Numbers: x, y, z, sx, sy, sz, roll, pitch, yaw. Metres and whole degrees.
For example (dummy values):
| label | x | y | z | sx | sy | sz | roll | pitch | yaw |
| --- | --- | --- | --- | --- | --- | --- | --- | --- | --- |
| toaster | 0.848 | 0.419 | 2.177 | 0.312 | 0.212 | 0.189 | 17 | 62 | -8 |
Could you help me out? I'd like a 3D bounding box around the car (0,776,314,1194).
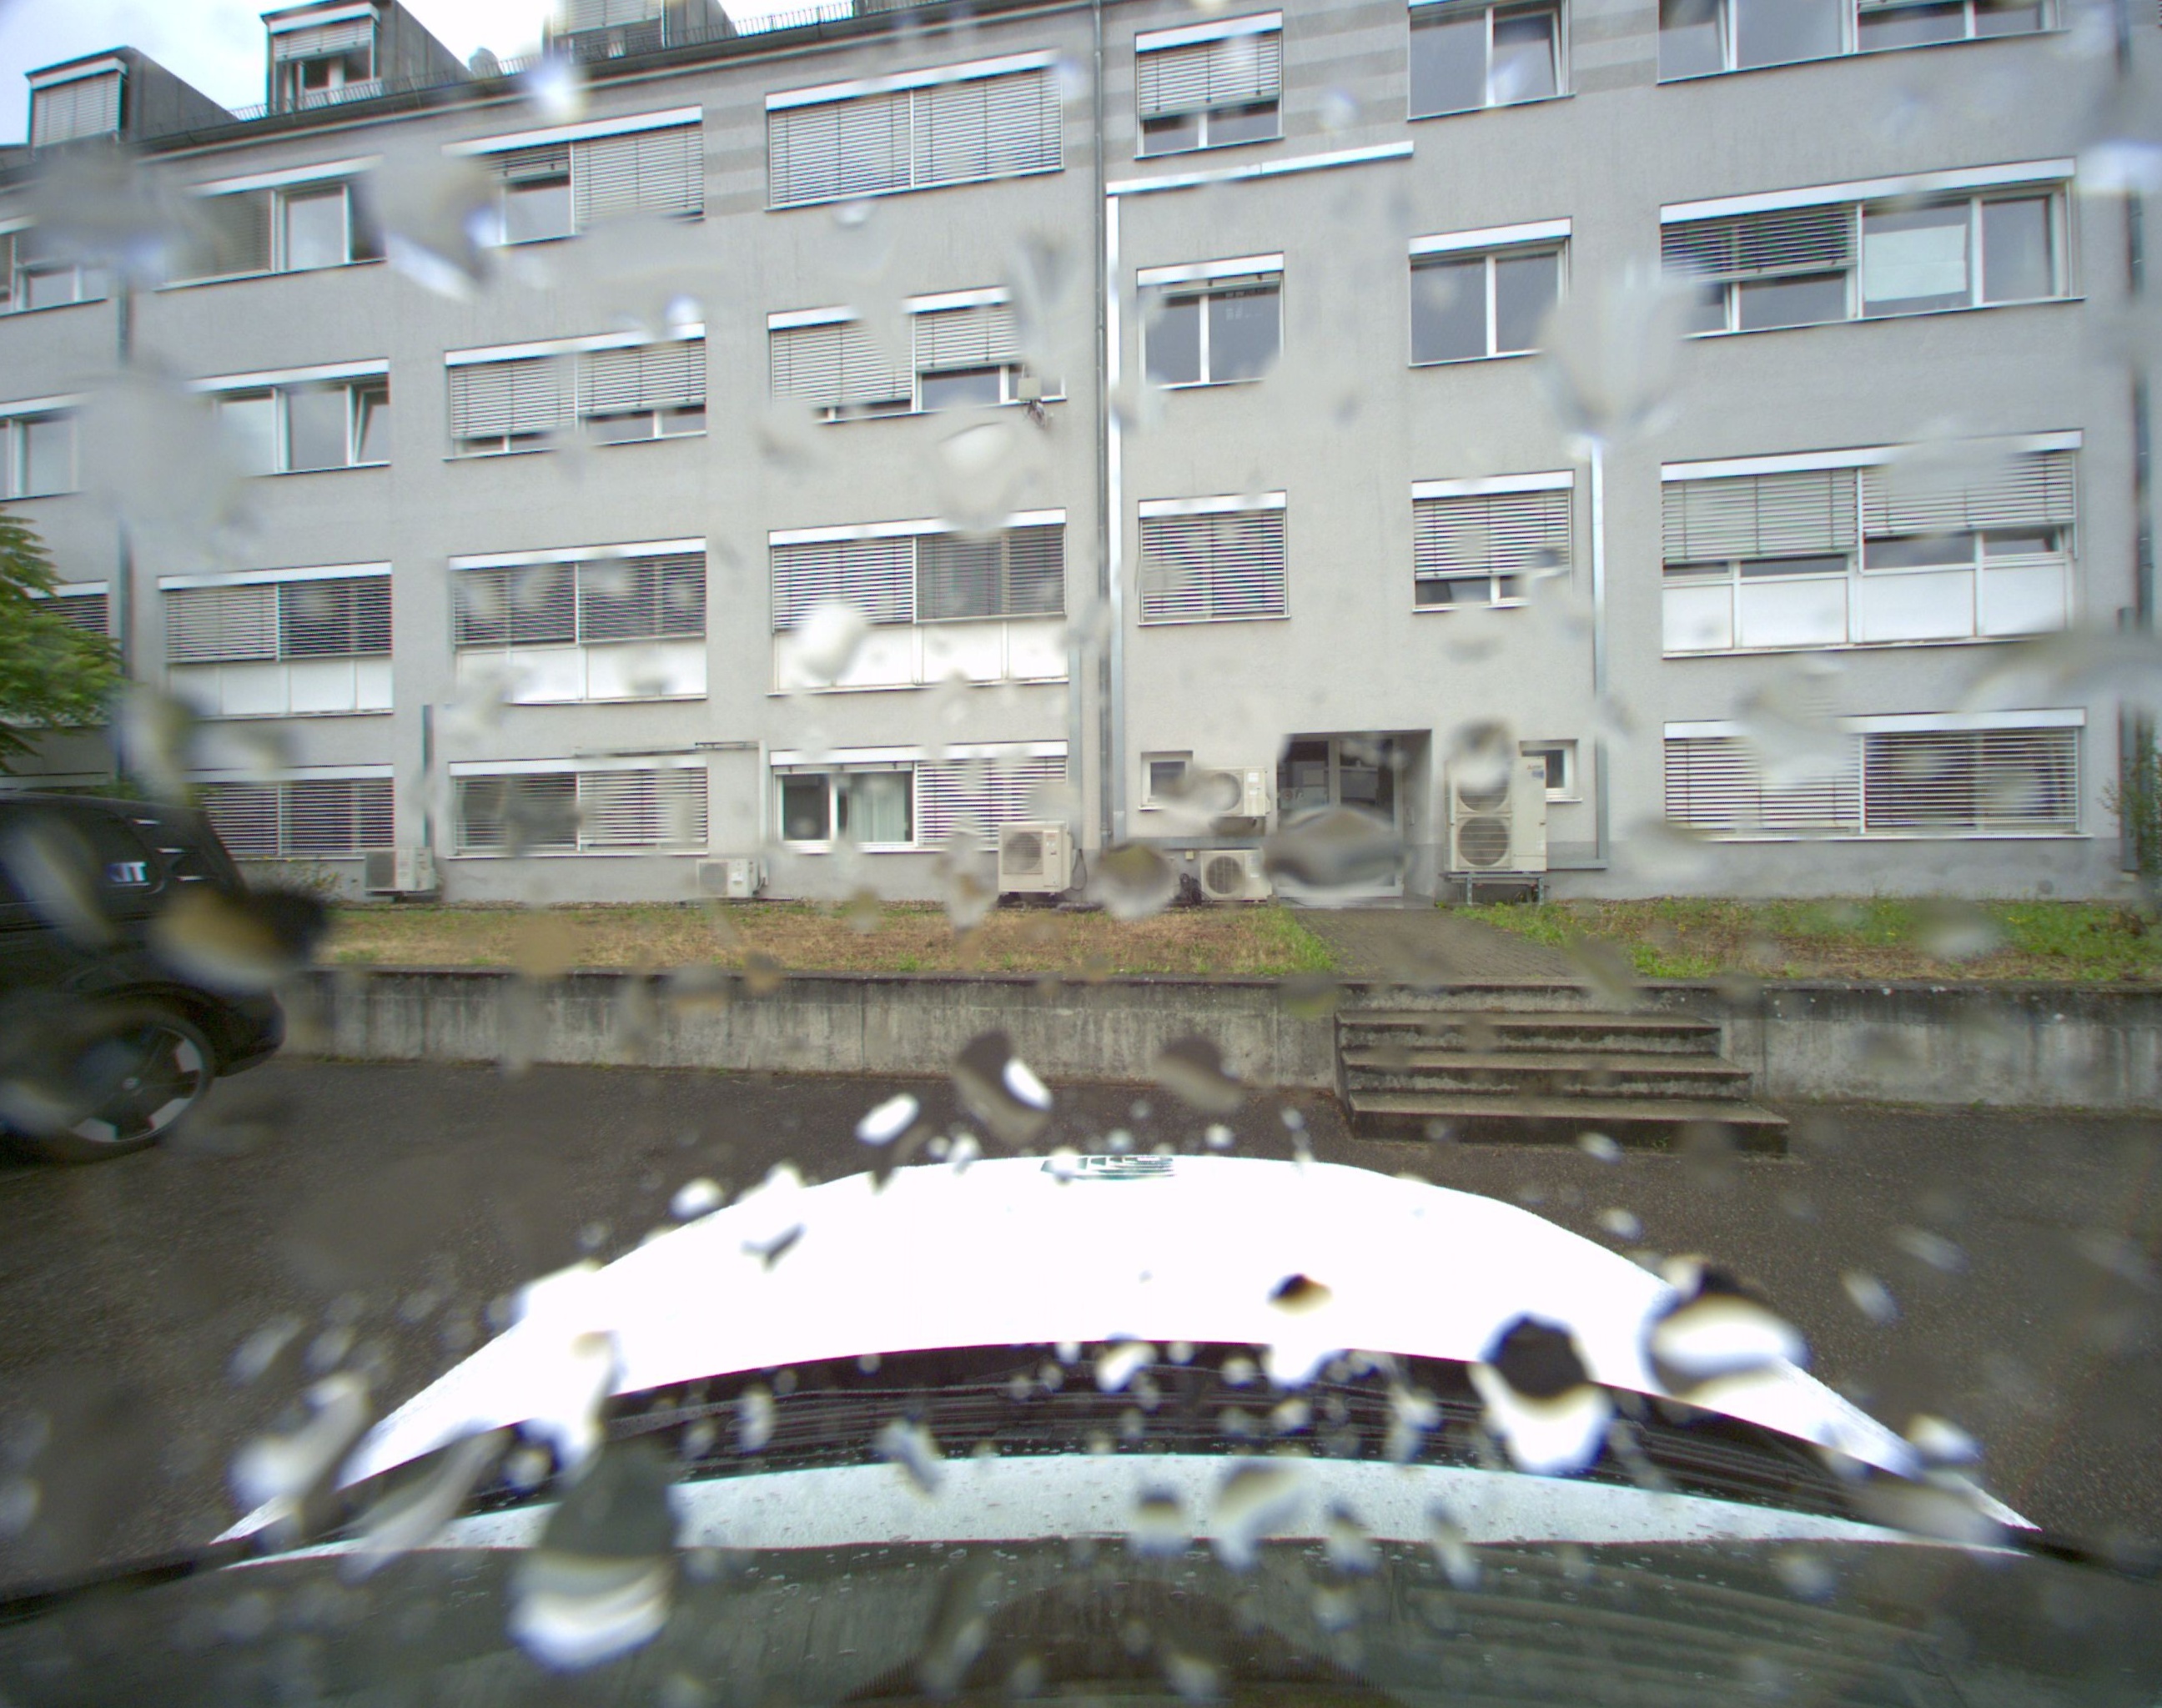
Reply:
| label | x | y | z | sx | sy | sz | roll | pitch | yaw |
| --- | --- | --- | --- | --- | --- | --- | --- | --- | --- |
| car | -6.062 | 0.629 | 2.890 | 2.028 | 1.897 | 4.533 | -2 | 0 | 8 |
